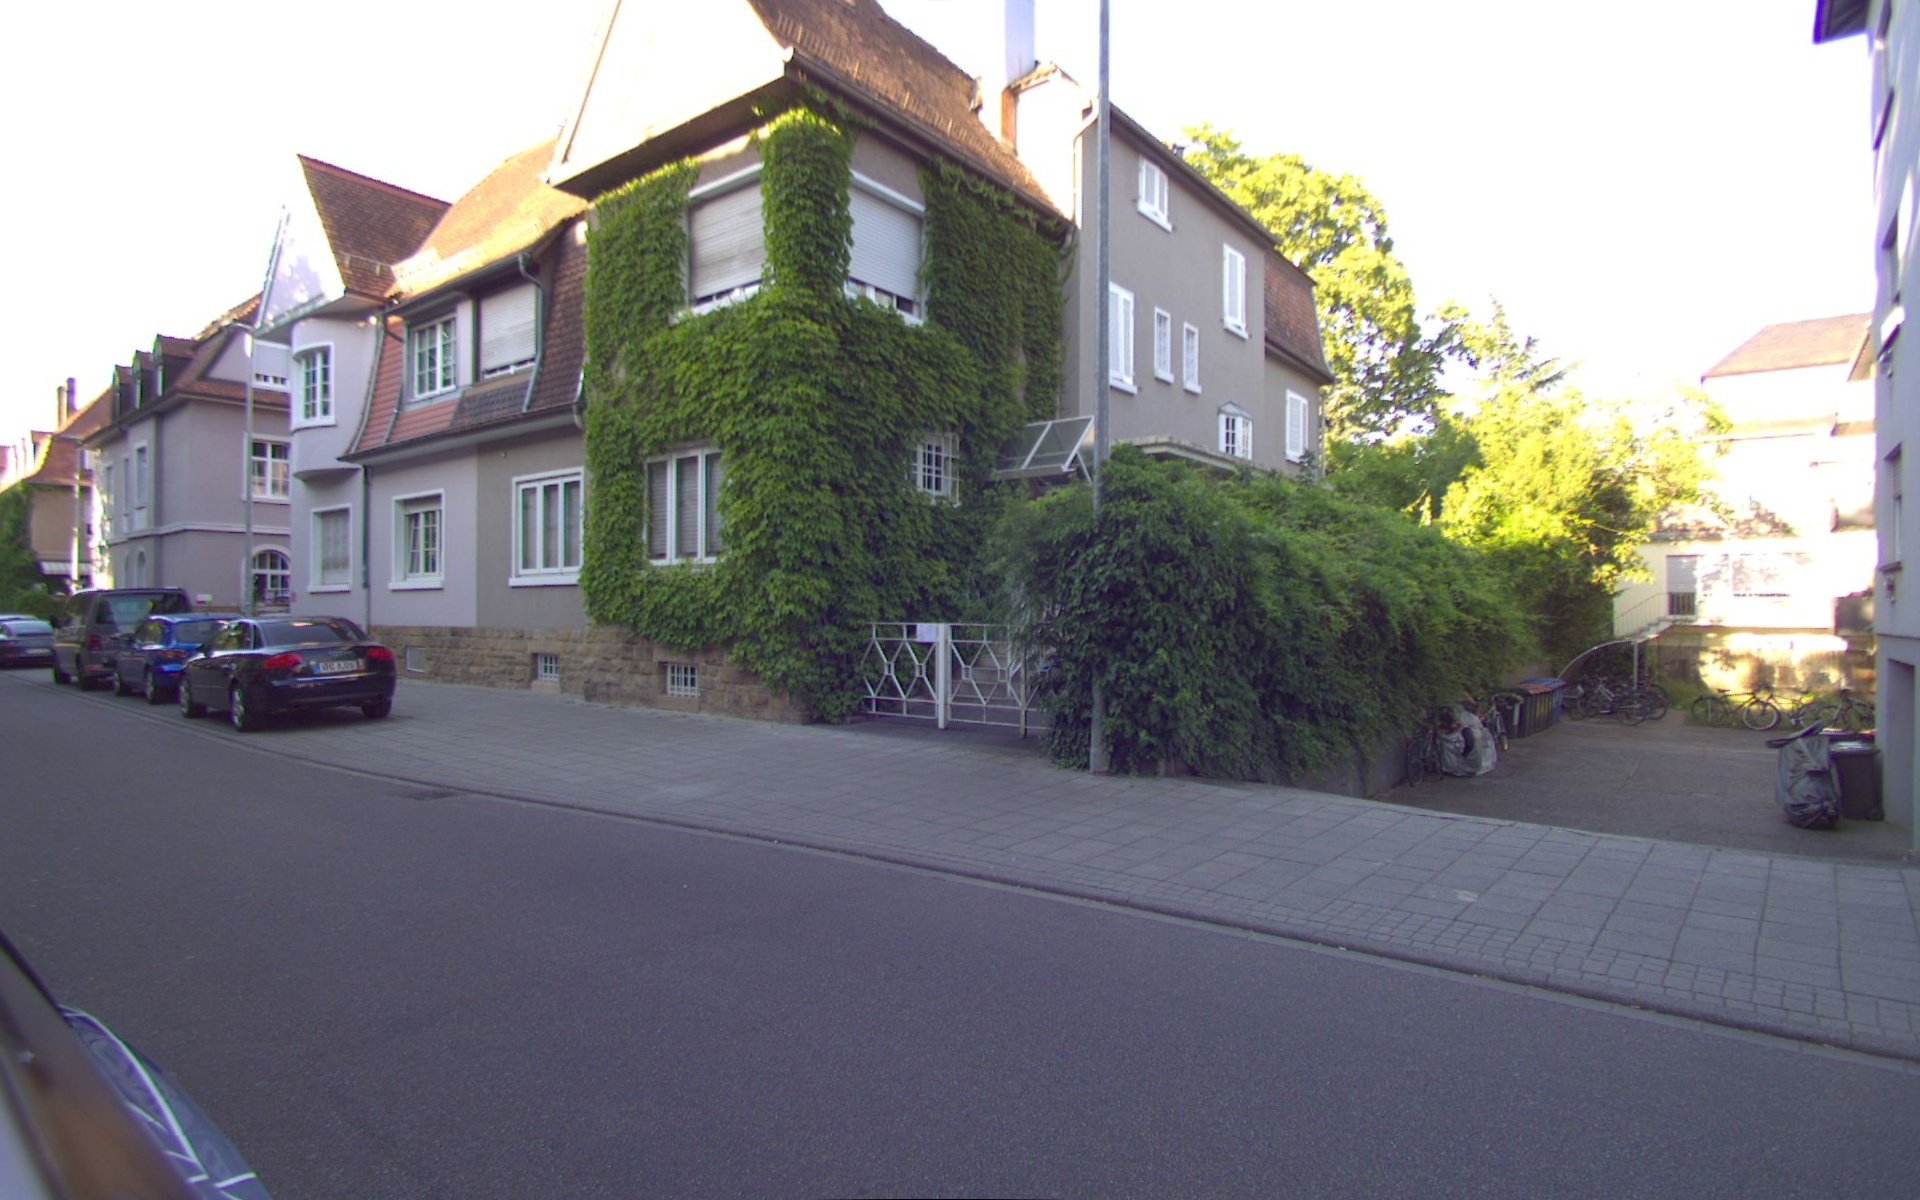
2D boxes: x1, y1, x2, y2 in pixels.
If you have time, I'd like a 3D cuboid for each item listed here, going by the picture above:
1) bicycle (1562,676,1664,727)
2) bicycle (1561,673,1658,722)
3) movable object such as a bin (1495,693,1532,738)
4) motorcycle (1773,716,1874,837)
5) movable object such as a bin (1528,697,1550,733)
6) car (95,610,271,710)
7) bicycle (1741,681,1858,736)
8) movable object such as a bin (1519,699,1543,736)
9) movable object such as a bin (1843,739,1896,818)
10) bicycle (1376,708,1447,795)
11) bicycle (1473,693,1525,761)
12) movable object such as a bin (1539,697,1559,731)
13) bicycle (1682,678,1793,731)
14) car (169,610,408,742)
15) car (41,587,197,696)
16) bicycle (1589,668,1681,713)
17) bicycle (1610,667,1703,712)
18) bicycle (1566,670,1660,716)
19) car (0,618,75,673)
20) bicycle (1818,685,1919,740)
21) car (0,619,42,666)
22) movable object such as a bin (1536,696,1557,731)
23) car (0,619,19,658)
[{"bbox_3d":[16.271,2.519,25.257,2.068,1.028,0.634,1,3,41],"label":"bicycle"},{"bbox_3d":[16.835,2.512,26.268,2.068,1.028,0.565,1,3,41],"label":"bicycle"},{"bbox_3d":[11.540,2.398,21.094,0.576,0.886,0.488,0,-3,41],"label":"movable object such as a bin"},{"bbox_3d":[10.722,2.145,12.621,0.757,1.261,1.575,-1,-3,34],"label":"motorcycle"},{"bbox_3d":[13.019,2.585,22.763,0.375,0.764,0.359,-1,-4,41],"label":"movable object such as a bin"},{"bbox_3d":[-13.749,0.963,17.835,4.021,1.475,1.591,0,2,40],"label":"car"},{"bbox_3d":[19.575,2.503,23.640,2.068,1.028,0.634,1,3,41],"label":"bicycle"},{"bbox_3d":[12.516,2.572,22.179,0.398,0.779,0.359,-1,-4,41],"label":"movable object such as a bin"},{"bbox_3d":[11.758,2.292,13.097,0.432,0.894,0.717,-1,-3,37],"label":"movable object such as a bin"},{"bbox_3d":[6.779,2.224,15.148,0.514,1.027,1.914,1,0,38],"label":"bicycle"},{"bbox_3d":[9.954,2.318,18.670,0.514,1.027,1.914,1,0,38],"label":"bicycle"},{"bbox_3d":[13.780,2.650,23.657,0.346,0.764,0.359,-1,-4,41],"label":"movable object such as a bin"},{"bbox_3d":[18.712,2.488,24.391,2.068,1.028,0.634,1,3,41],"label":"bicycle"},{"bbox_3d":[-9.273,0.914,13.856,4.023,1.439,1.729,0,2,42],"label":"car"},{"bbox_3d":[-17.472,0.769,20.963,4.308,1.987,1.698,0,2,40],"label":"car"},{"bbox_3d":[18.613,2.488,27.937,2.068,1.028,0.608,1,3,41],"label":"bicycle"},{"bbox_3d":[19.415,2.478,28.241,2.068,1.028,0.561,1,3,41],"label":"bicycle"},{"bbox_3d":[17.696,2.500,27.471,2.068,1.028,0.608,1,3,41],"label":"bicycle"},{"bbox_3d":[-26.346,1.222,28.339,4.331,1.381,1.698,-1,1,40],"label":"car"},{"bbox_3d":[20.619,2.520,22.713,2.068,1.028,0.634,1,3,41],"label":"bicycle"},{"bbox_3d":[-30.284,1.325,31.851,3.942,1.381,1.522,-1,1,40],"label":"car"},{"bbox_3d":[13.533,2.613,23.354,0.367,0.764,0.359,-1,-4,41],"label":"movable object such as a bin"},{"bbox_3d":[-36.516,1.433,37.661,3.942,1.381,1.698,-1,1,40],"label":"car"}]
